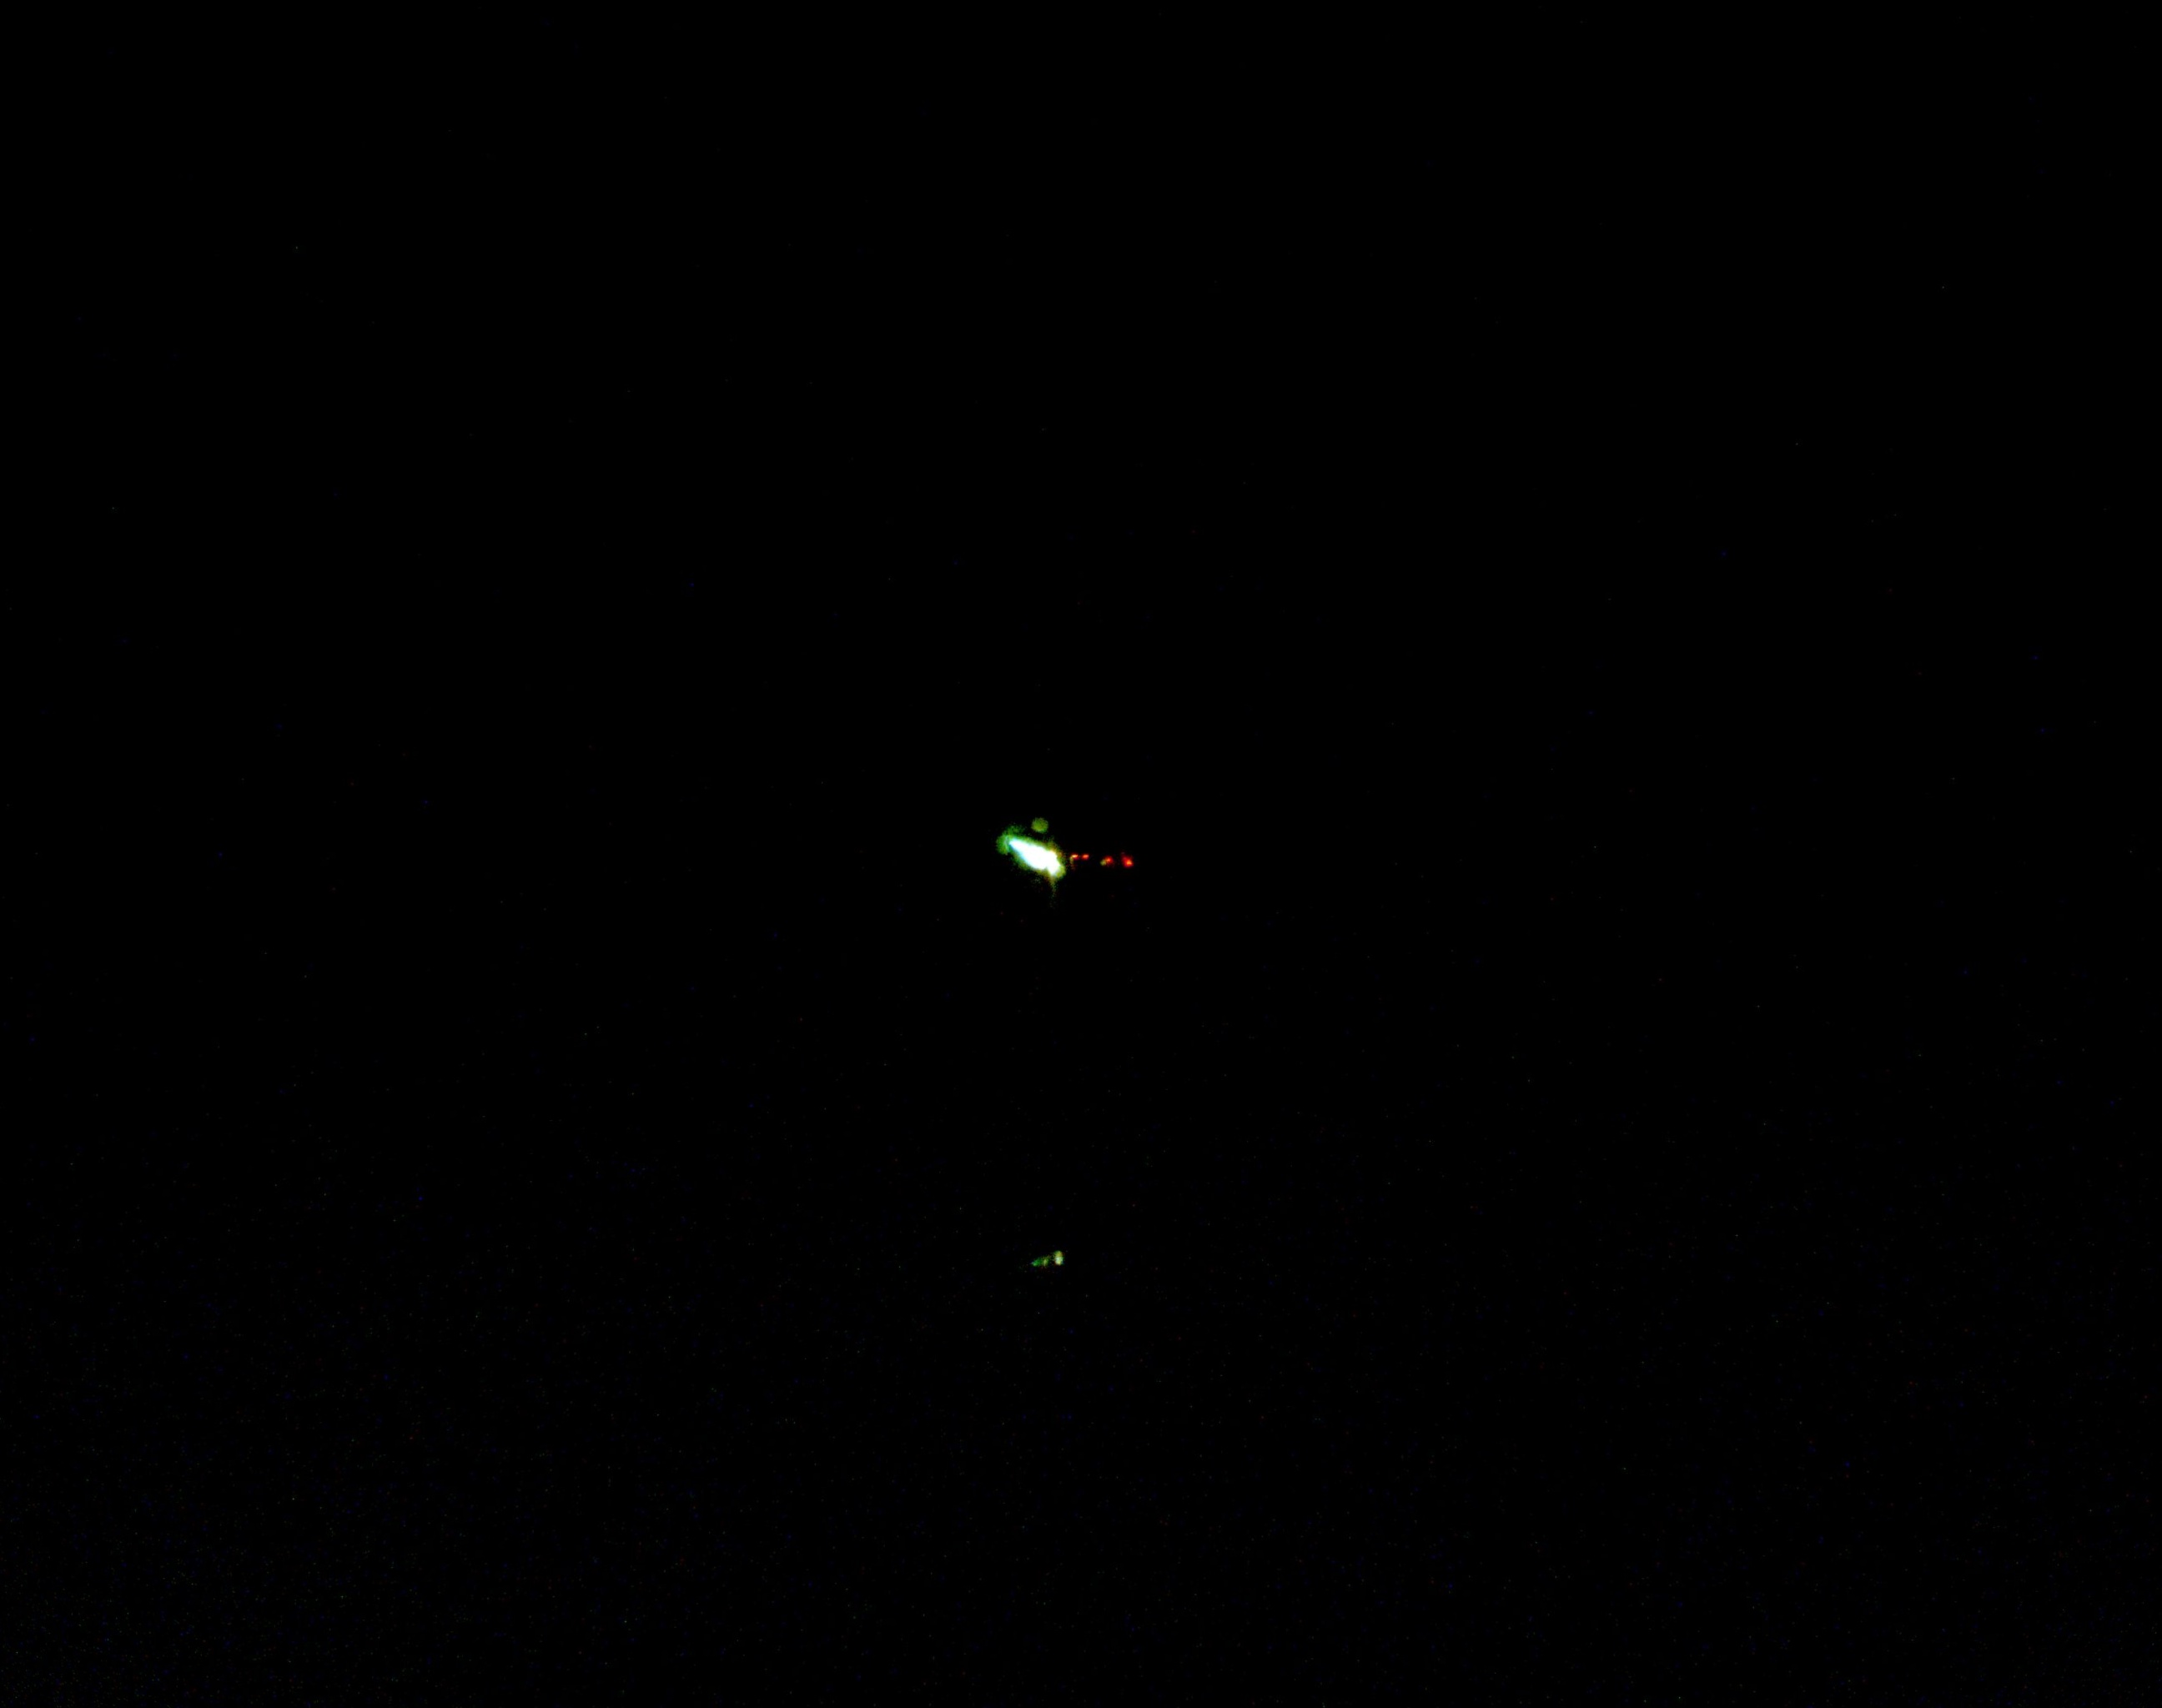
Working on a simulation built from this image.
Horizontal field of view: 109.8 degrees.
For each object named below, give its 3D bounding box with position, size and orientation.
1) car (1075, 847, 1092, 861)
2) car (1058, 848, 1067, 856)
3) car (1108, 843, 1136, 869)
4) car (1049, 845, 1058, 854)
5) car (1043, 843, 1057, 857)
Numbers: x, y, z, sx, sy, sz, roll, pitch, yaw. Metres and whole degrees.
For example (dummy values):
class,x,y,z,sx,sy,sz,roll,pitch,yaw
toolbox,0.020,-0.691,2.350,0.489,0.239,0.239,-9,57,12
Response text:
class,x,y,z,sx,sy,sz,roll,pitch,yaw
car,0.270,-0.045,98.396,1.999,1.615,3.998,-2,1,-2
car,-3.748,-0.452,153.494,1.601,1.394,3.467,-1,2,-5
car,3.289,0.156,62.382,1.999,2.002,4.274,-1,0,-1
car,-6.304,-1.117,175.617,1.809,1.917,3.997,-1,2,-4
car,-4.736,-0.575,115.200,1.999,2.002,3.997,0,2,-5
